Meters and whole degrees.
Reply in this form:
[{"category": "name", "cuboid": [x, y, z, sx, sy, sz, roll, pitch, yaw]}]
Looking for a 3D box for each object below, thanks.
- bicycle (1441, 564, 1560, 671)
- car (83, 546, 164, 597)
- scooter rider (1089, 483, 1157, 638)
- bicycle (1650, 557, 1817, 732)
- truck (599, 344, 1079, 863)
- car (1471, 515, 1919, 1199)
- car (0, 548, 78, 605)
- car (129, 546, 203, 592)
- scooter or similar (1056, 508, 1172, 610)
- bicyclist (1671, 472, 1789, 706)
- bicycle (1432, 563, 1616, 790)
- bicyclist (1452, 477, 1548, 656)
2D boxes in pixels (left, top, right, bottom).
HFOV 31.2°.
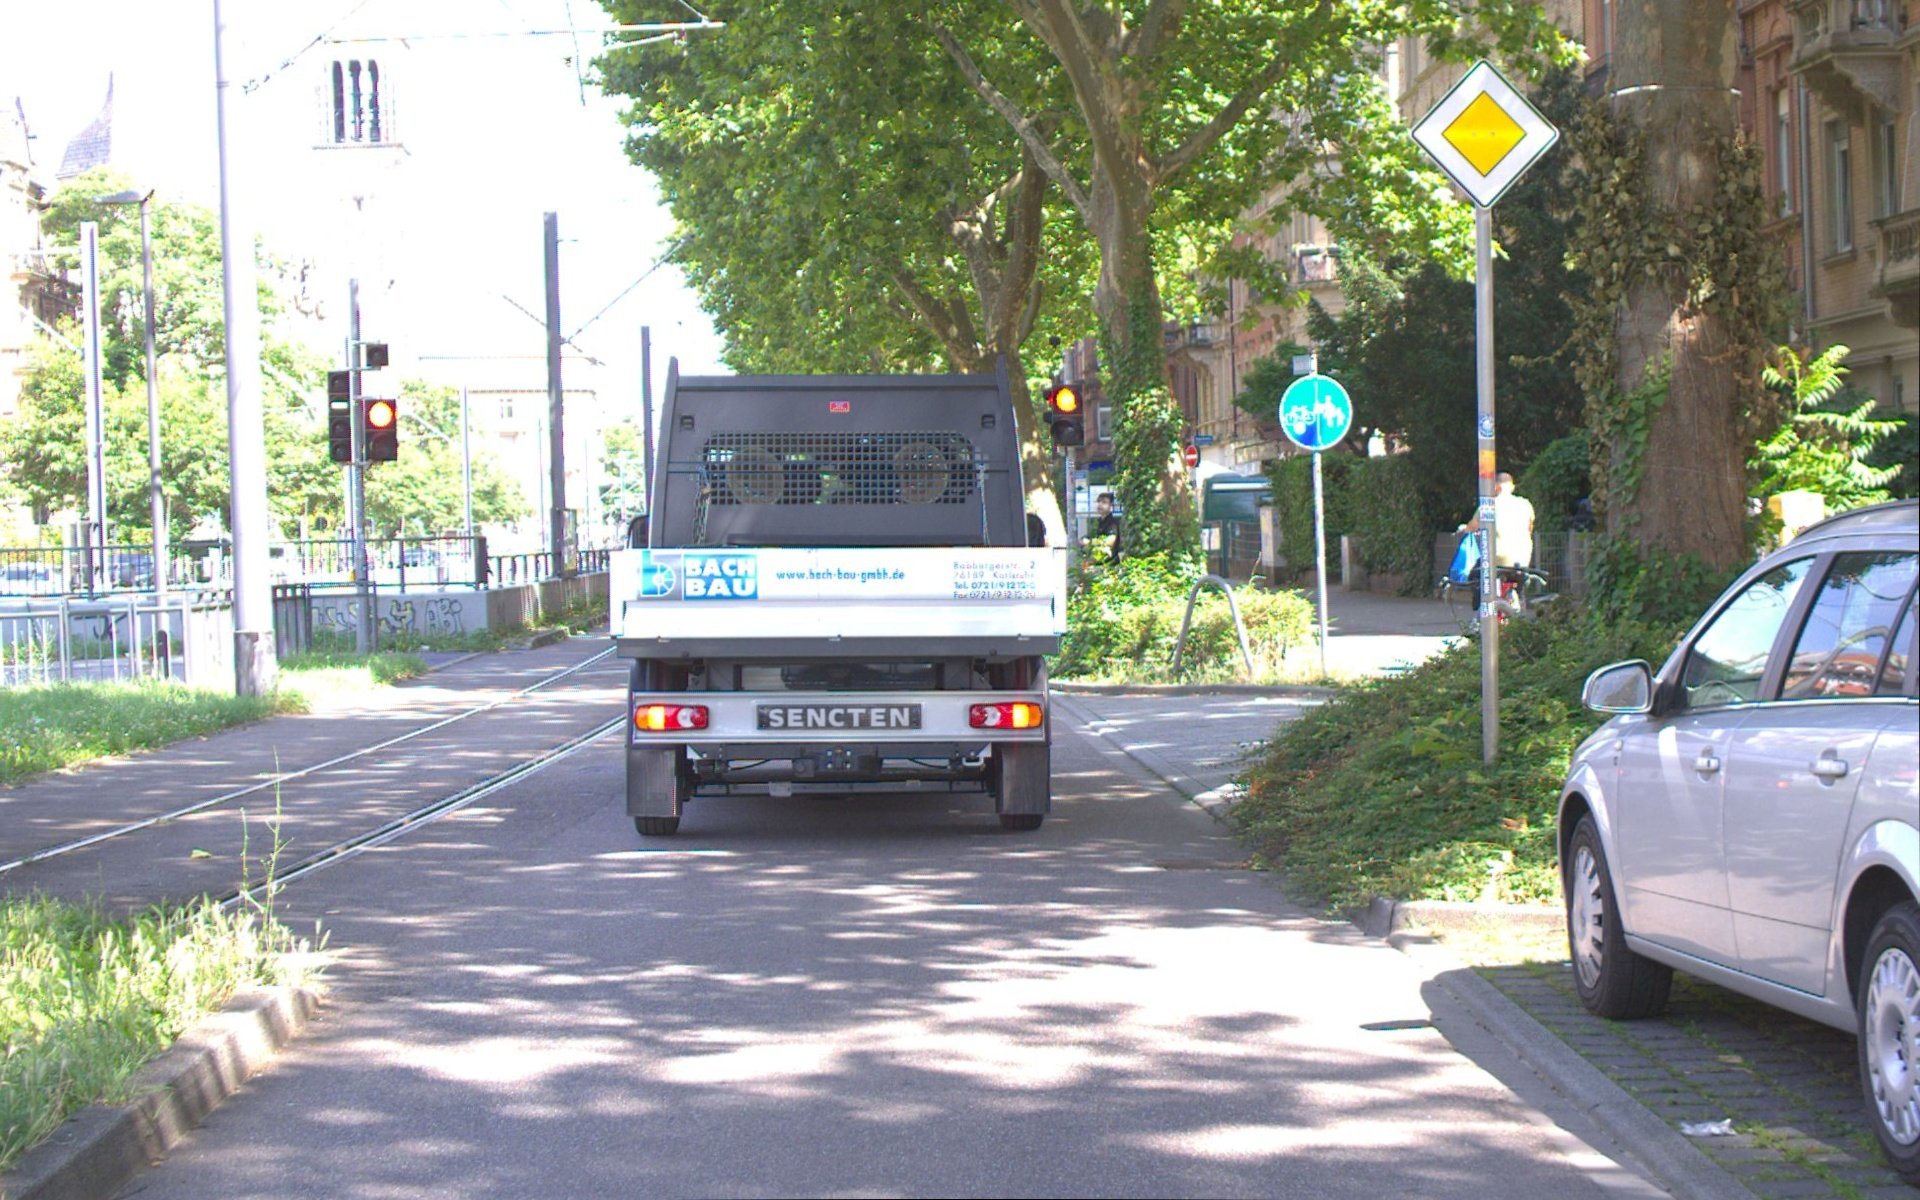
[{"category": "bicycle", "cuboid": [4.812, 0.141, 30.725, 0.675, 0.878, 2.163, -2, 1, -1]}, {"category": "car", "cuboid": [-26.395, -0.915, 108.593, 1.770, 1.493, 4.001, -2, 1, -3]}, {"category": "scooter rider", "cuboid": [1.988, -0.486, 41.841, 0.667, 1.860, 0.664, -1, 1, 14]}, {"category": "bicycle", "cuboid": [5.280, 0.276, 23.596, 0.565, 1.108, 2.310, -1, 1, -1]}, {"category": "truck", "cuboid": [-0.590, -0.027, 17.625, 2.138, 2.311, 4.402, 0, 1, -1]}, {"category": "car", "cuboid": [2.781, 0.537, 8.820, 1.833, 1.503, 4.493, -2, 1, -6]}, {"category": "car", "cuboid": [-25.597, -0.668, 95.246, 1.770, 1.493, 4.001, -2, 1, -8]}, {"category": "car", "cuboid": [-26.870, -1.062, 116.419, 1.770, 1.493, 4.001, -2, 1, -3]}, {"category": "scooter or similar", "cuboid": [1.884, -0.500, 41.875, 1.267, 1.200, 0.657, -2, 1, 14]}, {"category": "bicyclist", "cuboid": [5.271, -0.080, 23.557, 0.638, 1.568, 0.579, -1, 1, -1]}, {"category": "bicycle", "cuboid": [2.966, 0.378, 17.976, 0.421, 1.101, 1.614, -1, 1, 28]}, {"category": "bicyclist", "cuboid": [4.795, -0.302, 30.537, 0.680, 1.558, 0.777, -2, 1, -1]}]
